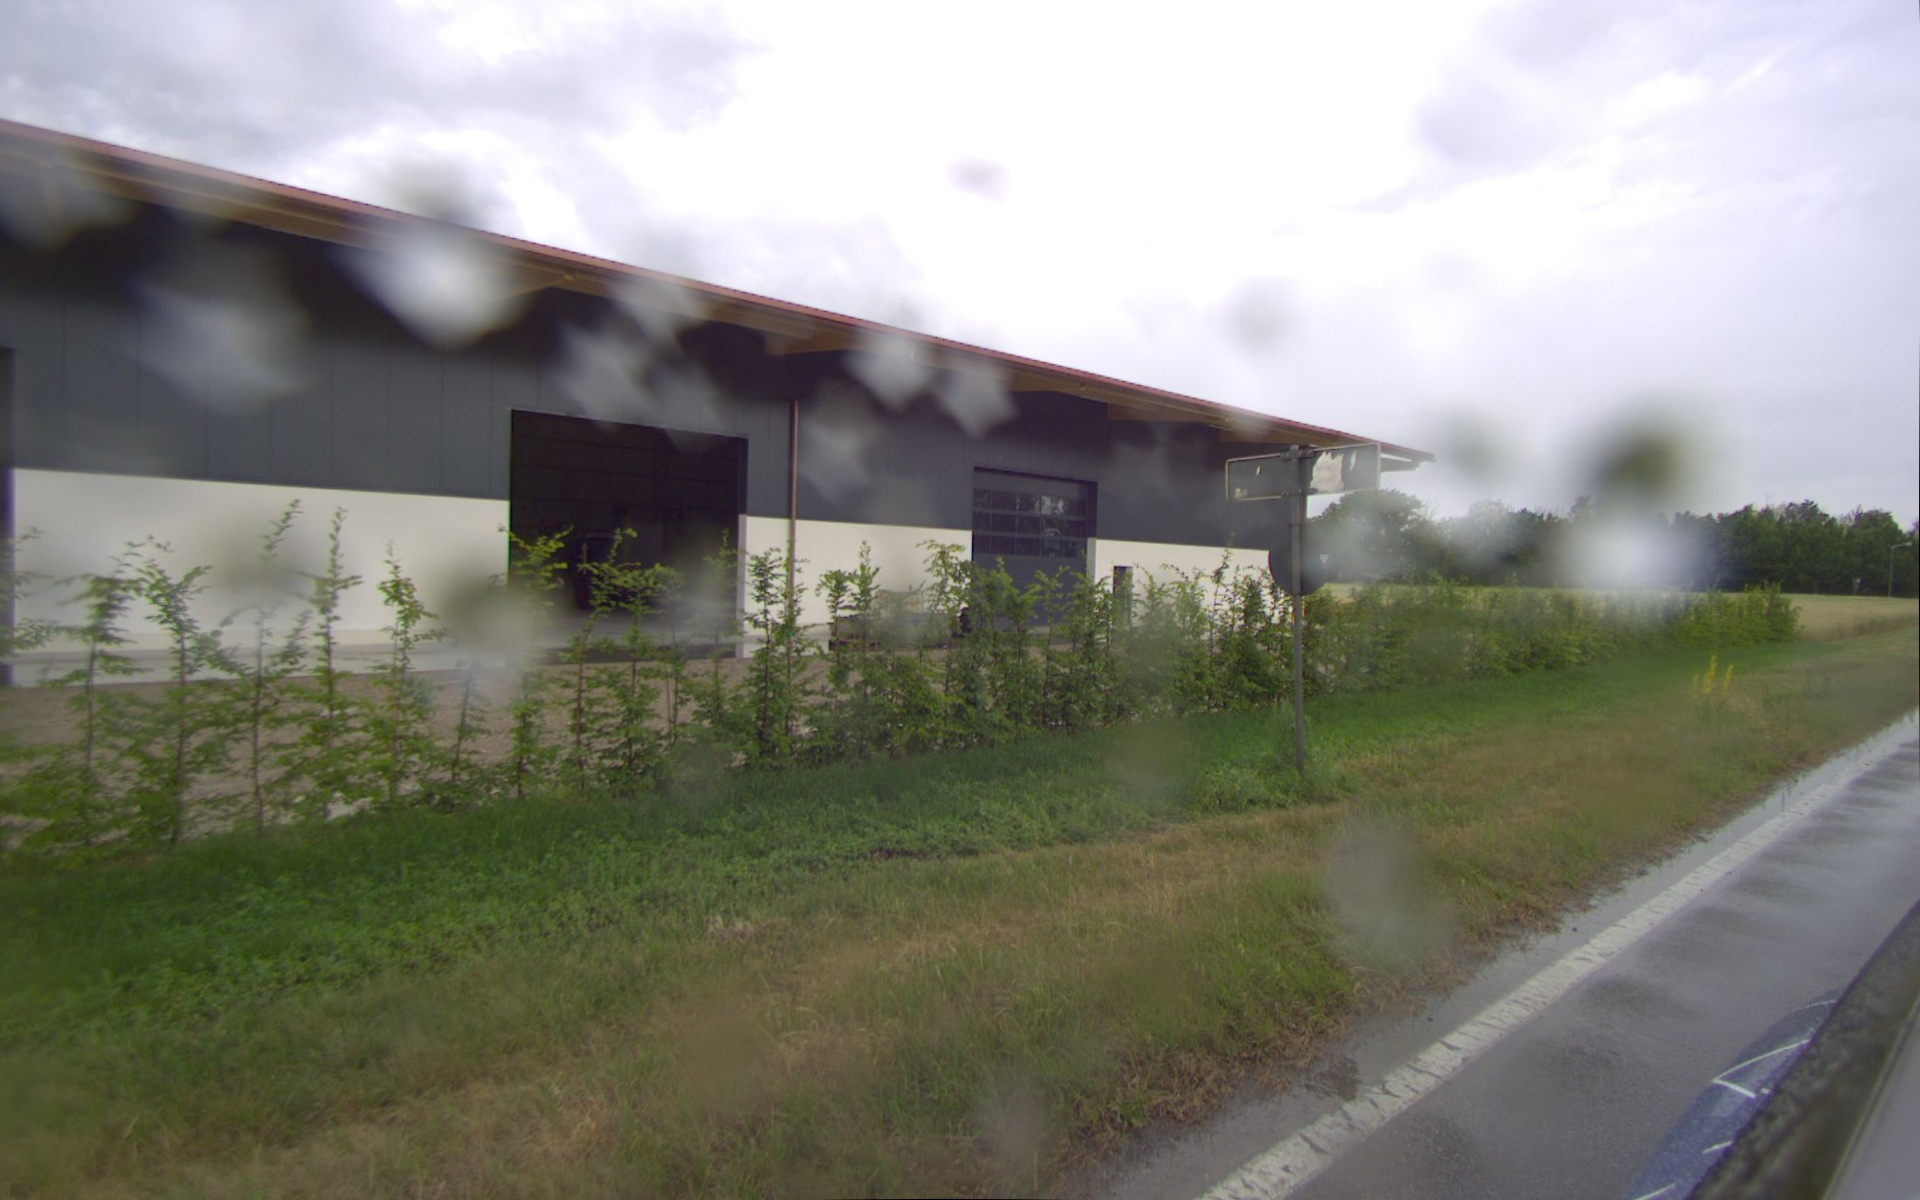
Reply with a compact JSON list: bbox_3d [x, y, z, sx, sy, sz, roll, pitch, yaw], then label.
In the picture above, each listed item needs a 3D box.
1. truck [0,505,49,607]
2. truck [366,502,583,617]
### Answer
[{"bbox_3d":[-27.241,-1.173,25.699,6.047,2.639,2.122,0,2,-41],"label":"truck"},{"bbox_3d":[-14.092,-1.138,29.534,5.251,3.050,2.495,0,2,-41],"label":"truck"}]
